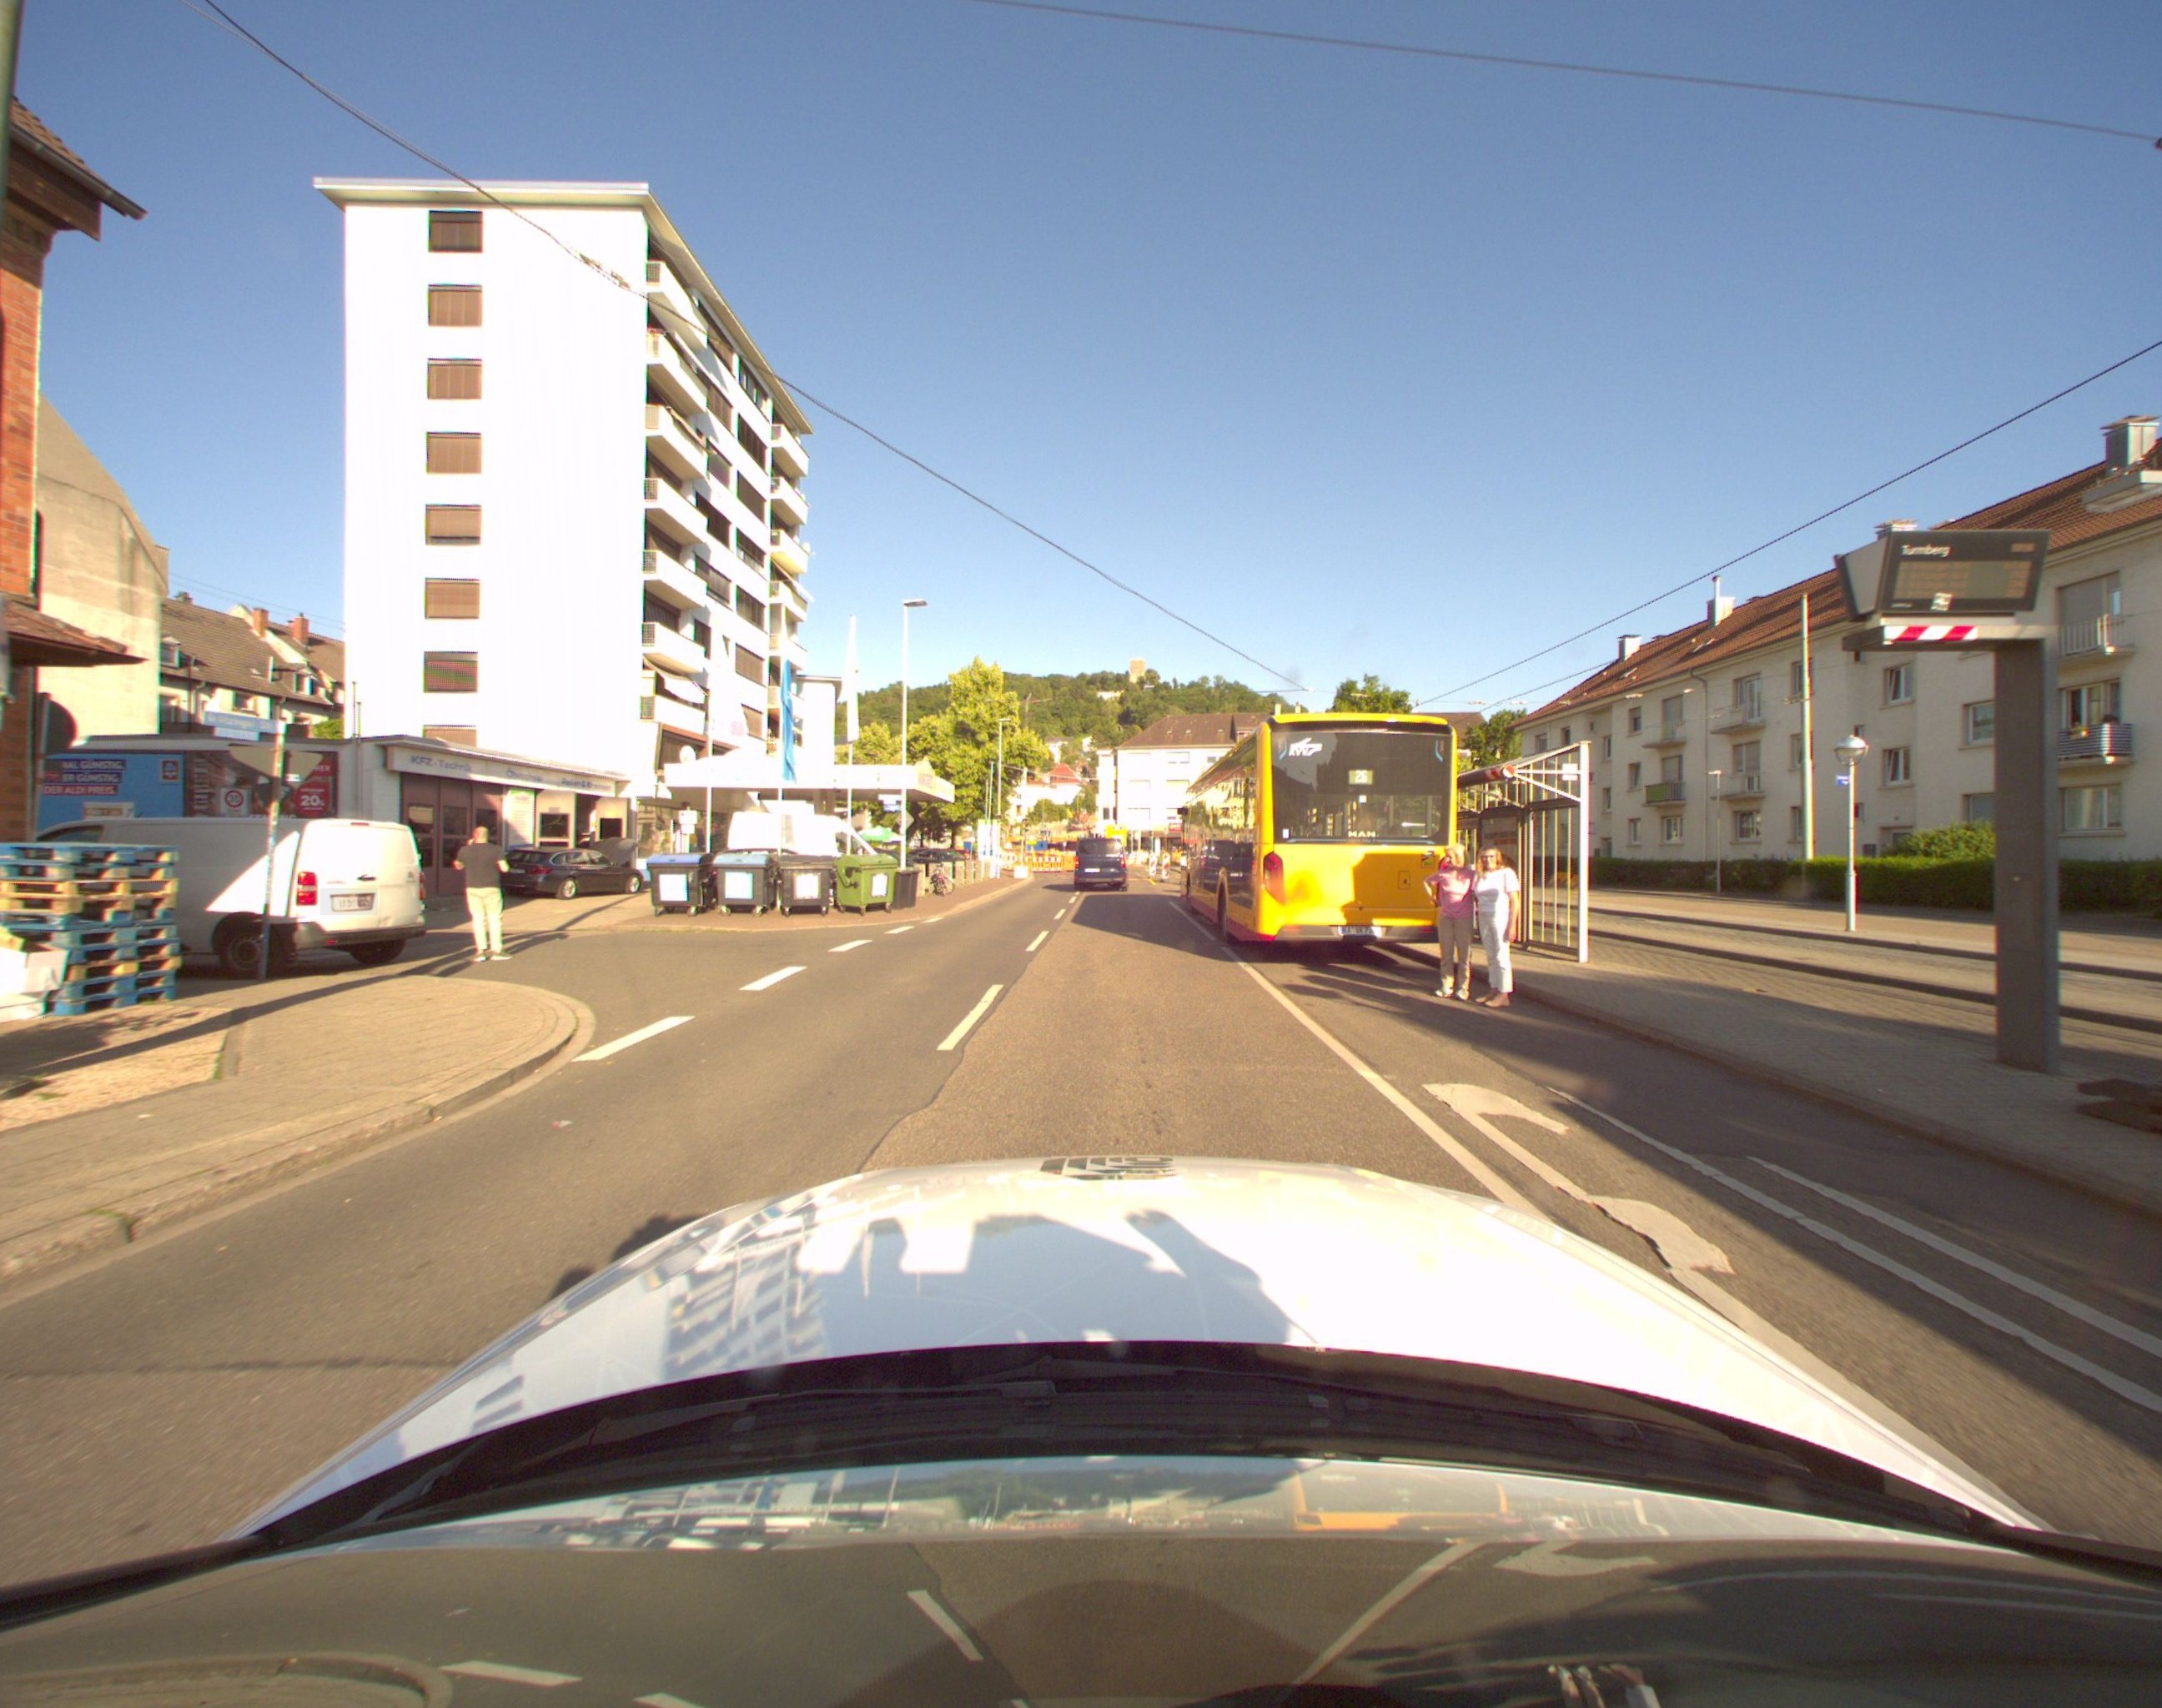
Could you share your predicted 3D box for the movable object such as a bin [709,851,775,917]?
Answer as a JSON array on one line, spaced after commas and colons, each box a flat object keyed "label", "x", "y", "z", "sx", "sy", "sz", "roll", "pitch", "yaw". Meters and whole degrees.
[{"label": "movable object such as a bin", "x": -7.937, "y": 0.686, "z": 19.112, "sx": 1.215, "sy": 1.482, "sz": 0.704, "roll": 0, "pitch": 3, "yaw": -3}]

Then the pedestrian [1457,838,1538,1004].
[{"label": "pedestrian", "x": 4.247, "y": 0.651, "z": 8.309, "sx": 0.548, "sy": 1.613, "sz": 0.544, "roll": 0, "pitch": 0, "yaw": -35}]

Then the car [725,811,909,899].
[{"label": "car", "x": -7.932, "y": 0.040, "z": 24.729, "sx": 5.072, "sy": 2.469, "sz": 2.095, "roll": 1, "pitch": 0, "yaw": -20}]

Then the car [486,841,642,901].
[{"label": "car", "x": -15.114, "y": 0.439, "z": 24.115, "sx": 1.761, "sy": 1.568, "sz": 4.317, "roll": 1, "pitch": 1, "yaw": 1}]

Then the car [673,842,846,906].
[{"label": "car", "x": -8.394, "y": 0.519, "z": 21.596, "sx": 3.990, "sy": 1.568, "sz": 1.766, "roll": 1, "pitch": 1, "yaw": -13}]

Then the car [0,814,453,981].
[{"label": "car", "x": -11.179, "y": 0.507, "z": 10.481, "sx": 4.600, "sy": 1.933, "sz": 2.000, "roll": 0, "pitch": 0, "yaw": 0}]

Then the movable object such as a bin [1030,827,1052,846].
[{"label": "movable object such as a bin", "x": -5.776, "y": -2.583, "z": 118.008, "sx": 2.175, "sy": 2.690, "sz": 4.015, "roll": 0, "pitch": 0, "yaw": 13}]

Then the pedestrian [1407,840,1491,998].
[{"label": "pedestrian", "x": 3.937, "y": 0.662, "z": 8.719, "sx": 0.548, "sy": 1.613, "sz": 0.629, "roll": 0, "pitch": 0, "yaw": -35}]

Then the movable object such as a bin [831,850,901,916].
[{"label": "movable object such as a bin", "x": -5.320, "y": 0.685, "z": 20.214, "sx": 1.045, "sy": 1.482, "sz": 1.321, "roll": 2, "pitch": 4, "yaw": 30}]

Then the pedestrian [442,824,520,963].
[{"label": "pedestrian", "x": -8.472, "y": 0.529, "z": 11.536, "sx": 0.823, "sy": 1.867, "sz": 0.787, "roll": 0, "pitch": 0, "yaw": -31}]

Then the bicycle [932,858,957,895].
[{"label": "bicycle", "x": -4.486, "y": 0.719, "z": 26.933, "sx": 0.722, "sy": 1.178, "sz": 1.777, "roll": 0, "pitch": 0, "yaw": -7}]

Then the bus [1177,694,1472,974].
[{"label": "bus", "x": 3.673, "y": -0.294, "z": 15.954, "sx": 2.678, "sy": 3.416, "sz": 12.026, "roll": 0, "pitch": 0, "yaw": 2}]

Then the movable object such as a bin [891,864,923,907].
[{"label": "movable object such as a bin", "x": -4.670, "y": 0.839, "z": 21.842, "sx": 0.635, "sy": 1.069, "sz": 0.582, "roll": 1, "pitch": 3, "yaw": 14}]

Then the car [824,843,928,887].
[{"label": "car", "x": -7.632, "y": 0.389, "z": 30.434, "sx": 3.413, "sy": 1.568, "sz": 1.602, "roll": 0, "pitch": 0, "yaw": -45}]

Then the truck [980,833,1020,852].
[{"label": "truck", "x": -10.605, "y": -1.522, "z": 107.646, "sx": 2.339, "sy": 2.415, "sz": 9.188, "roll": 0, "pitch": 0, "yaw": 14}]

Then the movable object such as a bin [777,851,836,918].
[{"label": "movable object such as a bin", "x": -6.473, "y": 0.694, "z": 19.207, "sx": 1.224, "sy": 1.482, "sz": 0.698, "roll": -1, "pitch": 3, "yaw": -27}]

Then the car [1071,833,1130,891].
[{"label": "car", "x": 0.805, "y": 0.304, "z": 31.587, "sx": 2.054, "sy": 2.013, "sz": 5.003, "roll": -1, "pitch": 0, "yaw": 2}]

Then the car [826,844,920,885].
[{"label": "car", "x": -8.371, "y": 0.406, "z": 32.950, "sx": 1.601, "sy": 1.568, "sz": 3.414, "roll": 0, "pitch": 0, "yaw": 41}]

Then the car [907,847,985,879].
[{"label": "car", "x": -6.918, "y": 0.423, "z": 41.476, "sx": 1.921, "sy": 1.454, "sz": 4.262, "roll": 1, "pitch": 1, "yaw": -42}]

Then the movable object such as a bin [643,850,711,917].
[{"label": "movable object such as a bin", "x": -9.348, "y": 0.672, "z": 18.883, "sx": 1.175, "sy": 1.482, "sz": 0.704, "roll": 0, "pitch": 3, "yaw": -3}]

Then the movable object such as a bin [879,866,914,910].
[{"label": "movable object such as a bin", "x": -4.805, "y": 0.883, "z": 21.230, "sx": 0.655, "sy": 1.062, "sz": 0.587, "roll": 3, "pitch": 2, "yaw": 14}]

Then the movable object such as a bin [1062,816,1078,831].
[{"label": "movable object such as a bin", "x": -2.046, "y": -5.626, "z": 152.461, "sx": 2.175, "sy": 2.690, "sz": 4.015, "roll": 0, "pitch": 0, "yaw": 13}]
